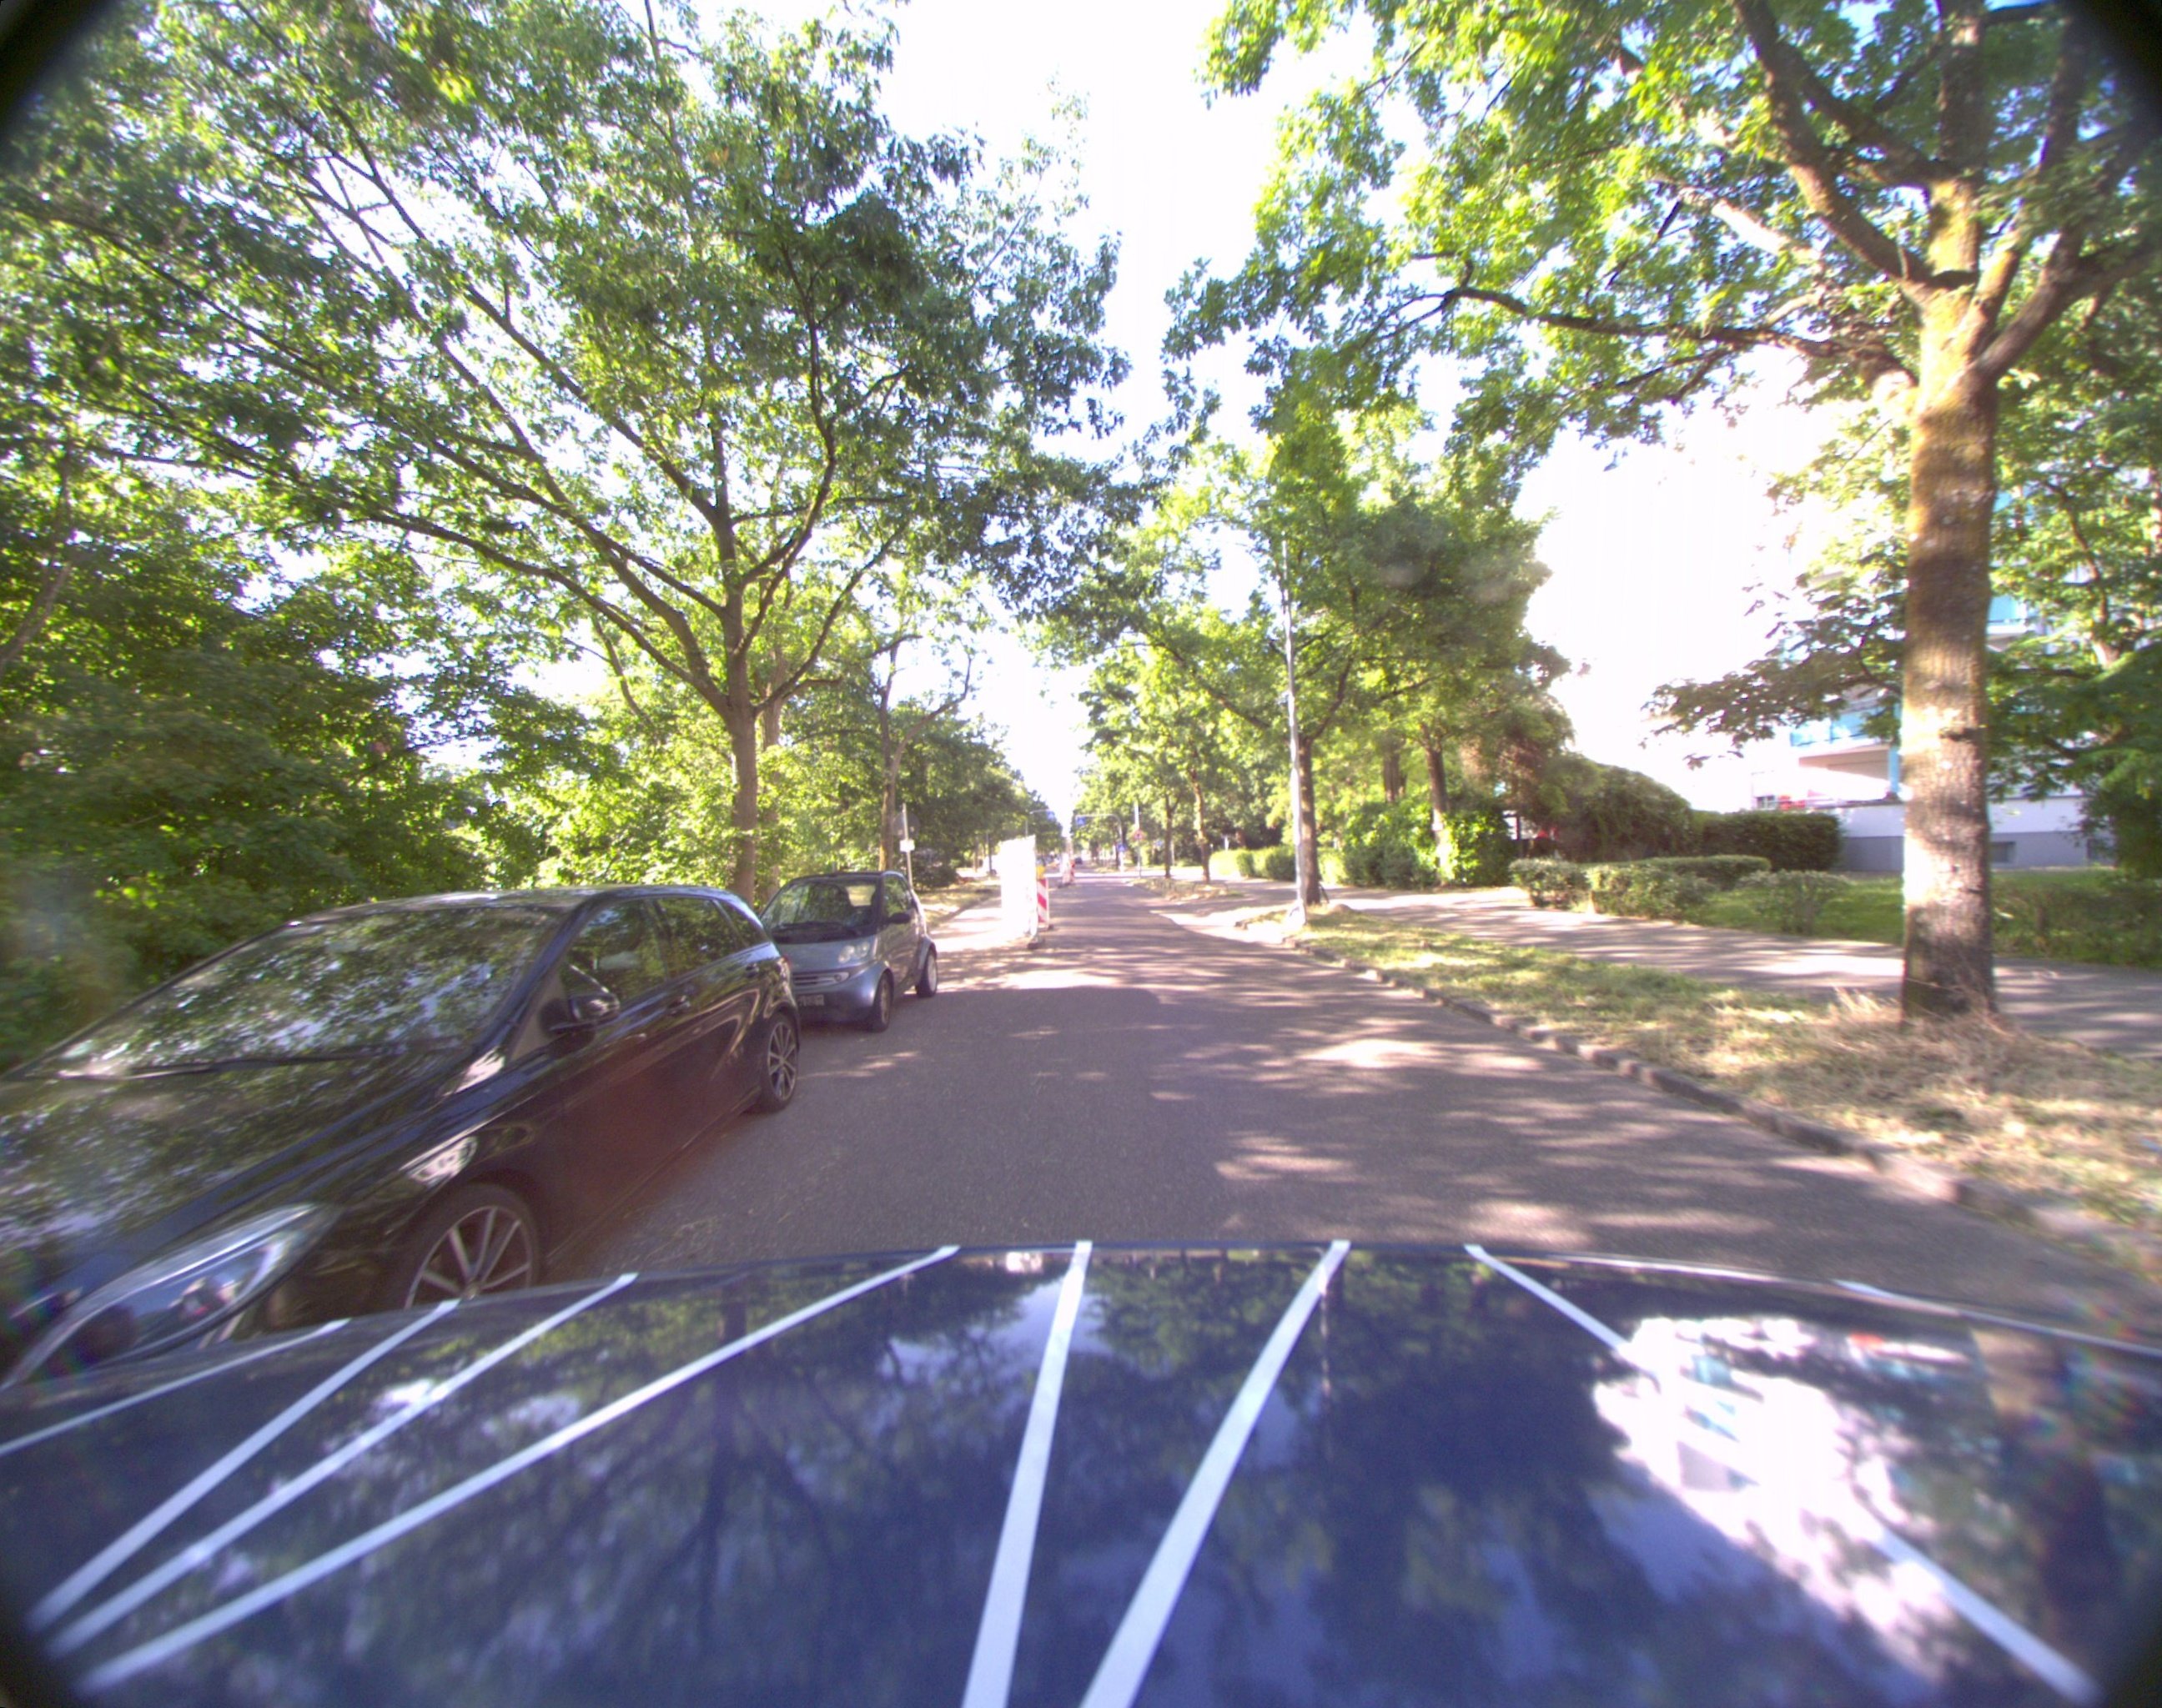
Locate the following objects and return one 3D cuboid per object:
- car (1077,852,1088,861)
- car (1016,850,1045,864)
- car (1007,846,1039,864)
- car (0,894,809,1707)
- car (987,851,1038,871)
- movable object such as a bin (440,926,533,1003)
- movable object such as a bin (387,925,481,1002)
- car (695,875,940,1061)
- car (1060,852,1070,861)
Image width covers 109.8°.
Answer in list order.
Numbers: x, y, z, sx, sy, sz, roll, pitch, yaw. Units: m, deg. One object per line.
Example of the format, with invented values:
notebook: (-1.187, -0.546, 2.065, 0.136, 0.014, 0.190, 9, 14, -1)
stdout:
car: (0.353, 0.597, 159.026, 1.998, 1.805, 4.000, -3, 0, 2)
car: (-7.595, 0.468, 113.957, 4.245, 1.993, 1.565, -1, 0, -4)
car: (-8.261, 0.122, 108.688, 4.412, 2.531, 1.888, -1, 0, -4)
car: (-2.747, 1.073, 3.327, 1.716, 1.500, 4.148, -3, 0, -3)
car: (-7.299, 0.749, 81.274, 5.269, 1.993, 2.000, -1, 0, -2)
movable object such as a bin: (-7.488, 1.384, 9.589, 0.727, 0.877, 0.462, 0, 7, 6)
movable object such as a bin: (-8.221, 1.388, 9.669, 0.727, 0.877, 0.462, 0, 7, 6)
car: (-2.583, 1.055, 8.064, 1.497, 1.500, 2.677, -3, 0, 2)
car: (-3.254, 0.527, 156.814, 1.998, 1.871, 4.000, 0, 1, 1)
